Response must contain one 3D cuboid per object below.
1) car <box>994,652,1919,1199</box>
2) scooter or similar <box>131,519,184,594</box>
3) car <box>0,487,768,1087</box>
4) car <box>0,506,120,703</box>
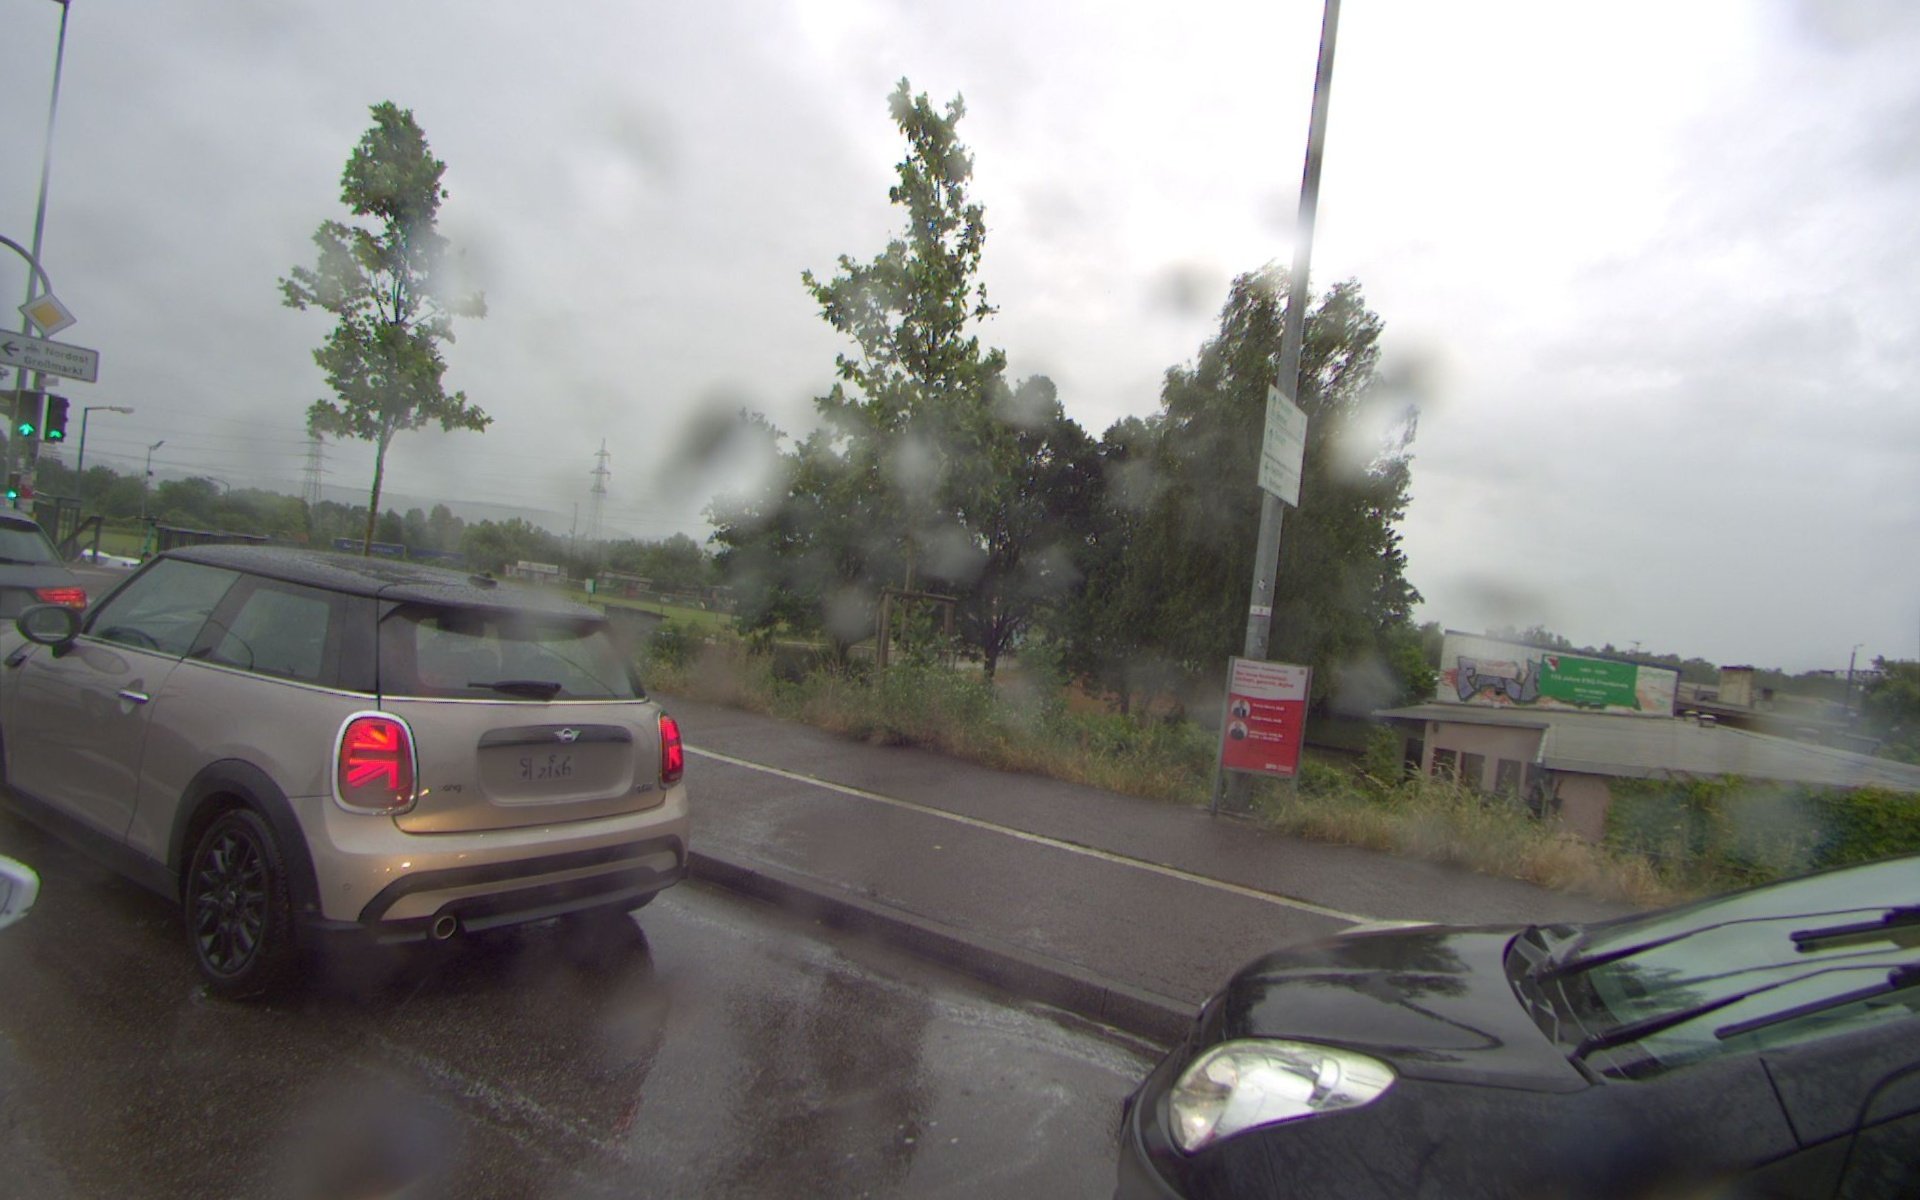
[{"bbox_3d":[2.010,1.081,1.540,3.563,1.445,1.632,7,-1,31],"label":"car"},{"bbox_3d":[-13.588,-0.749,17.027,1.167,1.171,0.246,6,-1,33],"label":"scooter or similar"},{"bbox_3d":[-2.845,0.469,4.390,3.563,1.525,1.717,7,-2,31],"label":"car"},{"bbox_3d":[-8.309,-0.154,7.744,3.563,1.360,1.632,6,-2,31],"label":"car"}]
